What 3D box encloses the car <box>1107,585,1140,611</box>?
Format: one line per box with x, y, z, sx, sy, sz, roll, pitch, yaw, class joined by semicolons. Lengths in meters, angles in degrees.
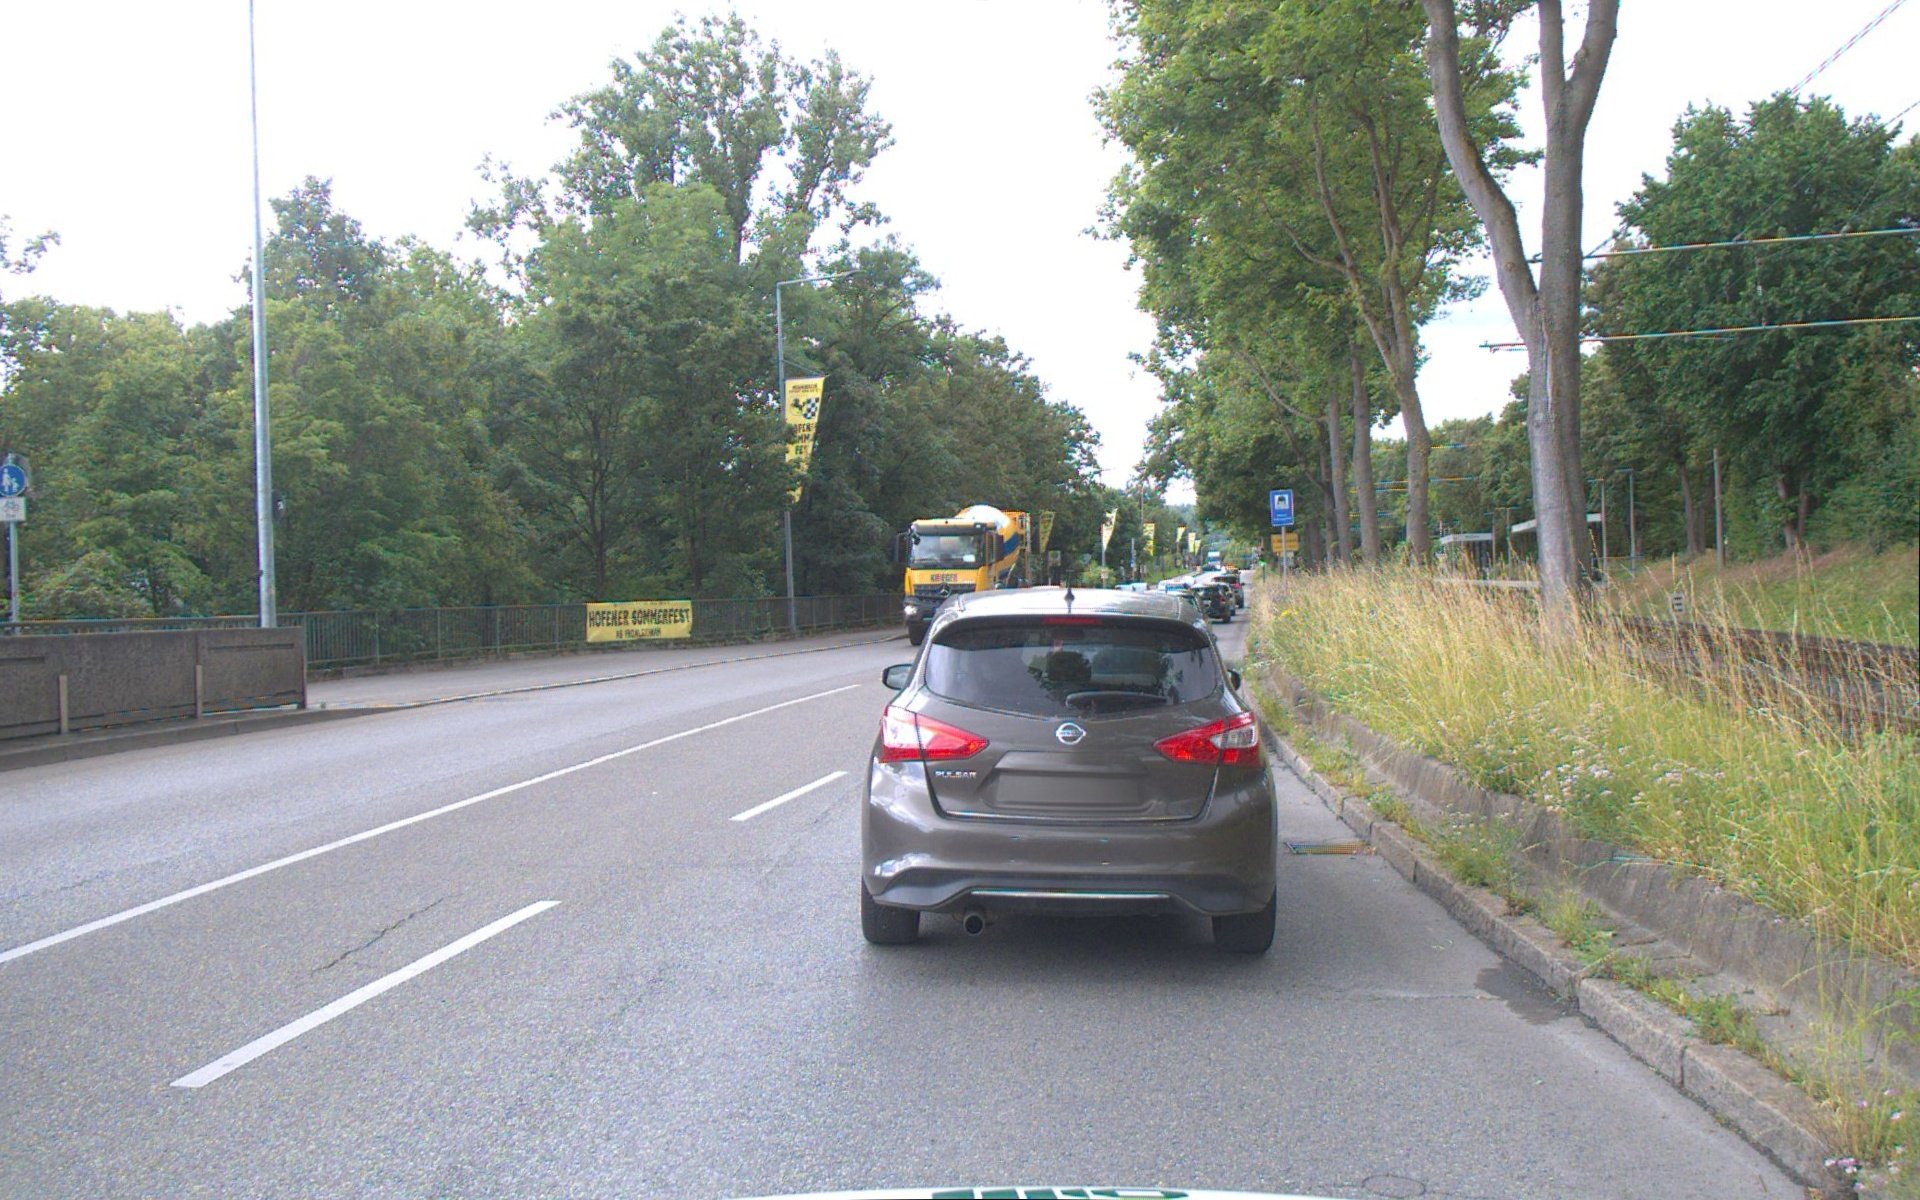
10.127;-0.089;102.335;1.684;1.467;4.003;-2;-2;10;car

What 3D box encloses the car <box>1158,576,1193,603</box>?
13.306;-0.632;101.841;1.812;1.512;4.424;-1;-1;11;car

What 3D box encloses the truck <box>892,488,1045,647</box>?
0.457;-0.841;46.945;2.598;4.007;10.120;0;0;10;truck

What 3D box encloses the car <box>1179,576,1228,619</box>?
9.222;-0.086;62.428;1.766;1.567;4.003;0;0;9;car

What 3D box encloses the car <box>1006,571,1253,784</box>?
1.398;0.618;14.552;1.853;1.601;4.001;0;-1;3;car

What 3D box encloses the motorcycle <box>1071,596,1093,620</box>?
5.575;0.356;75.487;0.729;1.051;1.890;-1;1;11;motorcycle

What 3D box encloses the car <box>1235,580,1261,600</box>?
22.102;-0.797;126.771;1.850;1.470;3.810;-1;0;11;car

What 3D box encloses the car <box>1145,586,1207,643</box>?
5.766;0.374;43.934;1.468;1.388;3.590;-2;0;9;car

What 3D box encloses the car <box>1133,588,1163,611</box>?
13.062;-0.034;114.948;1.779;1.488;4.004;-2;0;10;car

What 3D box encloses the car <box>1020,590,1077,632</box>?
3.358;0.404;62.057;1.729;1.505;4.004;0;0;9;car

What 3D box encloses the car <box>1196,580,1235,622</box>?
11.718;0.073;75.673;1.681;1.723;4.003;-2;-2;9;car

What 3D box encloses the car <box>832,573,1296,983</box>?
0.545;0.691;8.236;1.737;1.520;4.002;0;-1;5;car

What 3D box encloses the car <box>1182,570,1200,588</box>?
24.595;-2.242;175.996;1.681;1.723;3.728;-2;-2;9;car

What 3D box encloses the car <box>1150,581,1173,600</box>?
17.363;-0.847;142.431;1.715;1.445;4.003;-2;-2;9;car

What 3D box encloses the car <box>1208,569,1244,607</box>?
14.889;-0.654;92.457;1.850;2.049;4.004;-1;0;11;car

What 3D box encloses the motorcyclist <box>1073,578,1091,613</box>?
5.584;-0.205;75.544;0.729;1.566;0.791;-1;0;12;motorcyclist

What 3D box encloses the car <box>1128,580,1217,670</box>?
4.016;0.460;31.575;1.544;1.565;4.003;-2;0;6;car
